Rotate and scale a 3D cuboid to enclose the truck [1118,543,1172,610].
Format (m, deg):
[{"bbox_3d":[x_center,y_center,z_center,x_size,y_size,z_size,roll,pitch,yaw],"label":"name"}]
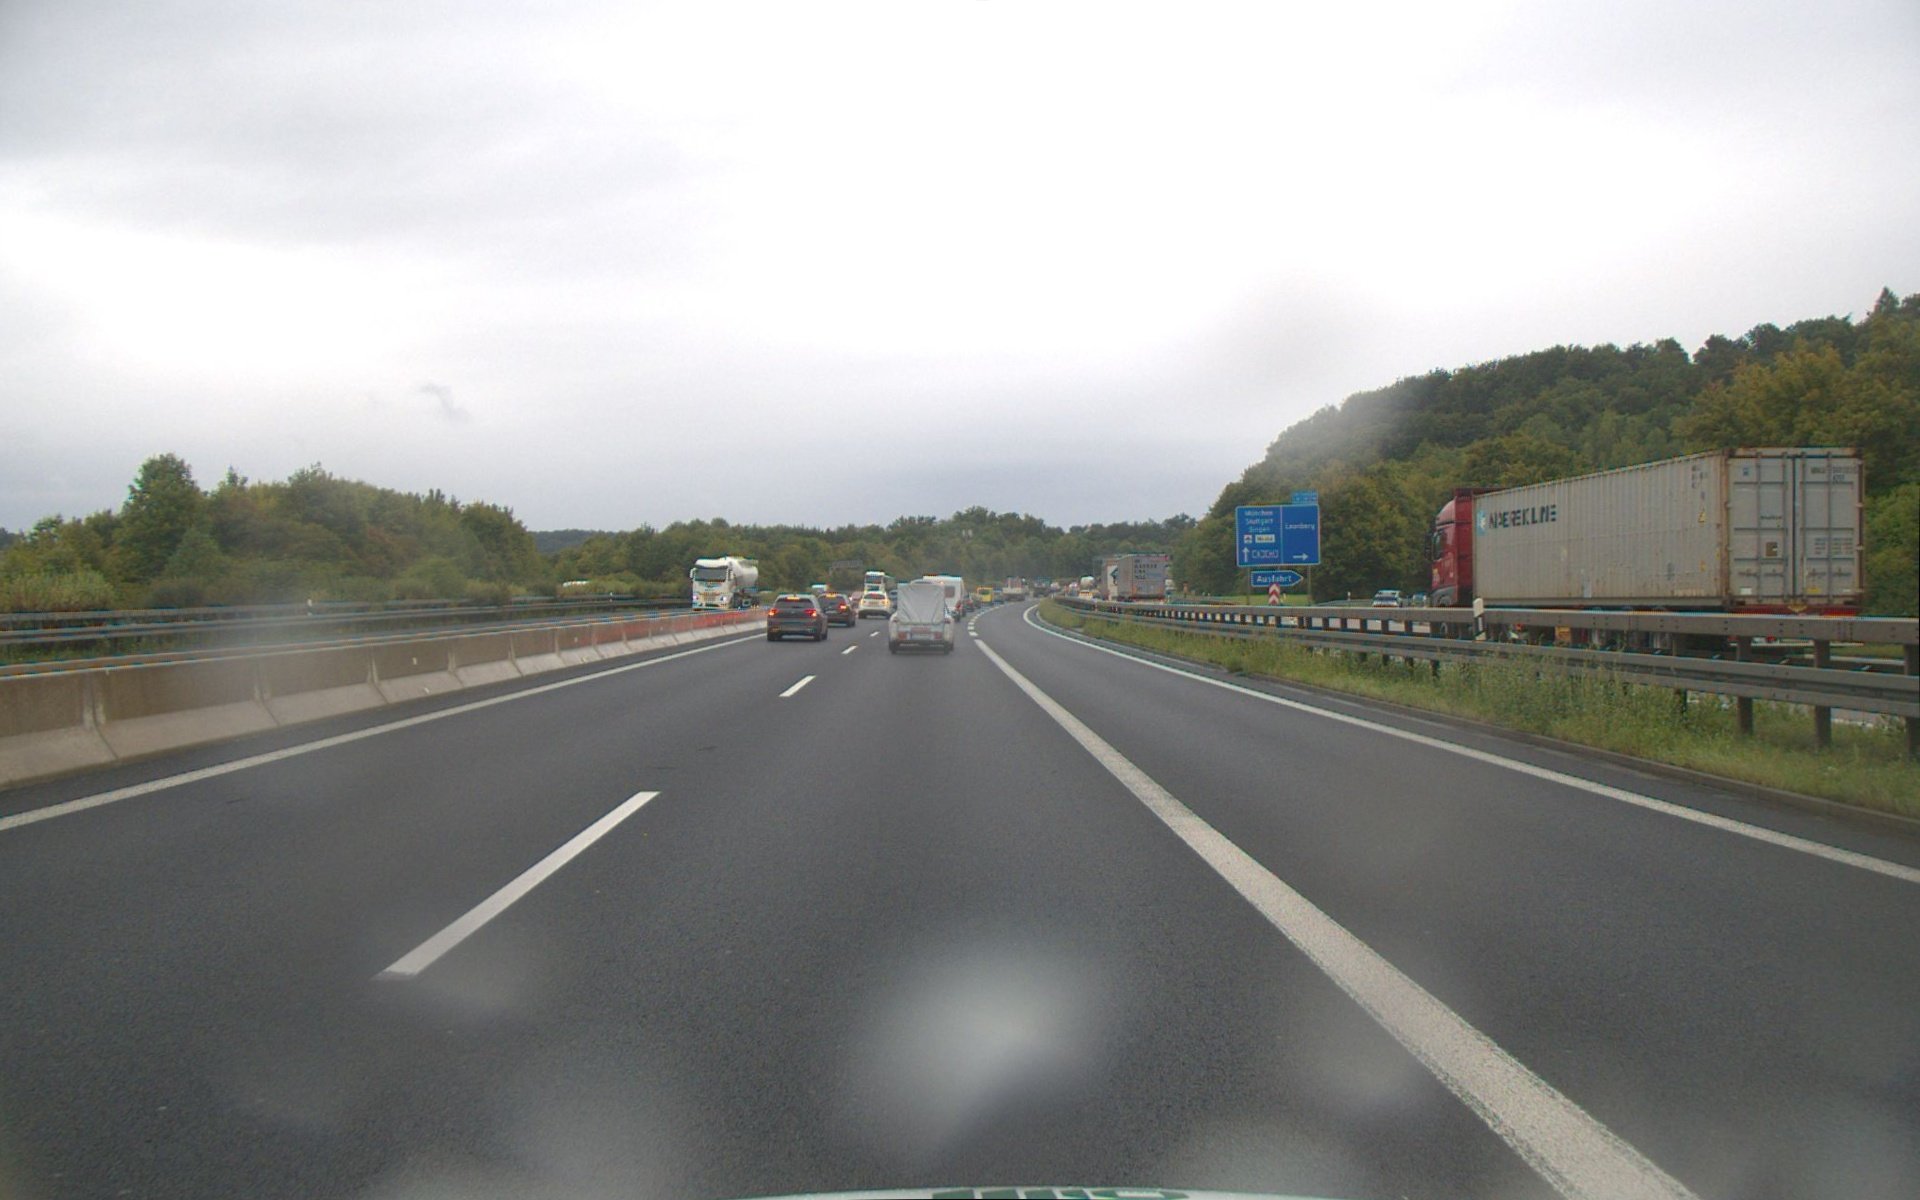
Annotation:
[{"bbox_3d":[13.741,-1.646,123.907,3.148,4.748,13.036,0,0,2],"label":"truck"}]

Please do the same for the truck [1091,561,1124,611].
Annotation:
[{"bbox_3d":[14.625,-1.284,163.247,3.147,4.748,13.041,0,0,6],"label":"truck"}]

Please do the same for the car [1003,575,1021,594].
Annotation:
[{"bbox_3d":[7.434,-2.178,235.133,2.463,2.620,5.314,0,0,3],"label":"car"}]

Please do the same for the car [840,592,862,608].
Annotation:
[{"bbox_3d":[-11.309,-0.023,171.596,1.770,1.608,4.358,0,0,3],"label":"car"}]

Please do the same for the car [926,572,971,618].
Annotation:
[{"bbox_3d":[-0.639,-0.261,97.510,2.456,2.630,5.700,0,0,1],"label":"car"}]

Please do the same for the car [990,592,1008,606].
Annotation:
[{"bbox_3d":[4.899,-0.098,205.559,1.994,1.712,4.002,0,0,4],"label":"car"}]

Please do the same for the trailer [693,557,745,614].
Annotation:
[{"bbox_3d":[-16.602,-0.967,114.143,2.582,3.780,6.491,0,0,0],"label":"trailer"}]

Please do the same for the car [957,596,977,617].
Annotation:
[{"bbox_3d":[0.618,0.564,143.142,1.641,1.844,4.000,0,0,1],"label":"car"}]

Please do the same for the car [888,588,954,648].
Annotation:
[{"bbox_3d":[-1.081,0.507,47.746,1.781,1.644,4.777,0,0,0],"label":"car"}]

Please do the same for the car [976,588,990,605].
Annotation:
[{"bbox_3d":[2.623,-0.382,188.530,1.641,1.844,4.000,0,0,1],"label":"car"}]

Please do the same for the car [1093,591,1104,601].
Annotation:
[{"bbox_3d":[21.674,-0.604,258.719,1.641,1.481,4.001,0,0,3],"label":"car"}]

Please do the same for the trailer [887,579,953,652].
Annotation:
[{"bbox_3d":[-1.027,0.407,43.993,1.641,1.844,3.999,0,0,0],"label":"trailer"}]

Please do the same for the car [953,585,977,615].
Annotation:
[{"bbox_3d":[0.351,-0.005,117.804,1.641,2.103,3.999,0,0,-1],"label":"car"}]

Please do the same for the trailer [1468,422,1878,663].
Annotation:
[{"bbox_3d":[13.722,-0.934,33.598,2.552,3.962,12.485,0,0,-2],"label":"trailer"}]

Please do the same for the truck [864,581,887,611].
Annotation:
[{"bbox_3d":[-10.936,-0.475,214.174,2.828,3.814,5.943,0,0,-1],"label":"truck"}]

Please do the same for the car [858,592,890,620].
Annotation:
[{"bbox_3d":[-5.177,0.352,100.134,1.739,1.669,4.043,0,0,0],"label":"car"}]

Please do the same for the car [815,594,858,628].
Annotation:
[{"bbox_3d":[-5.568,0.476,75.050,1.729,1.481,3.999,0,0,-1],"label":"car"}]

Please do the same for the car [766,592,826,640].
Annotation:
[{"bbox_3d":[-5.268,0.494,53.553,1.642,1.481,3.999,0,0,-1],"label":"car"}]

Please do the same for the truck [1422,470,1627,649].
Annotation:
[{"bbox_3d":[13.409,-0.881,39.830,2.563,3.952,6.389,0,0,-2],"label":"truck"}]

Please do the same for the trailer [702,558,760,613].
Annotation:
[{"bbox_3d":[-16.534,-0.986,120.201,2.582,3.802,10.811,0,0,1],"label":"trailer"}]

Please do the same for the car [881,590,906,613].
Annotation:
[{"bbox_3d":[-4.936,0.092,122.672,1.740,1.669,4.042,0,0,-1],"label":"car"}]

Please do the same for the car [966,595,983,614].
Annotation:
[{"bbox_3d":[1.474,0.480,162.337,1.641,1.844,4.000,0,0,1],"label":"car"}]

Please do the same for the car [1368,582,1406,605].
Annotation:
[{"bbox_3d":[27.778,-0.402,107.547,1.643,1.481,3.996,0,0,26],"label":"car"}]

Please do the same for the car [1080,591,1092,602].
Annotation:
[{"bbox_3d":[16.511,-0.446,216.936,1.640,1.481,4.002,0,0,4],"label":"car"}]
